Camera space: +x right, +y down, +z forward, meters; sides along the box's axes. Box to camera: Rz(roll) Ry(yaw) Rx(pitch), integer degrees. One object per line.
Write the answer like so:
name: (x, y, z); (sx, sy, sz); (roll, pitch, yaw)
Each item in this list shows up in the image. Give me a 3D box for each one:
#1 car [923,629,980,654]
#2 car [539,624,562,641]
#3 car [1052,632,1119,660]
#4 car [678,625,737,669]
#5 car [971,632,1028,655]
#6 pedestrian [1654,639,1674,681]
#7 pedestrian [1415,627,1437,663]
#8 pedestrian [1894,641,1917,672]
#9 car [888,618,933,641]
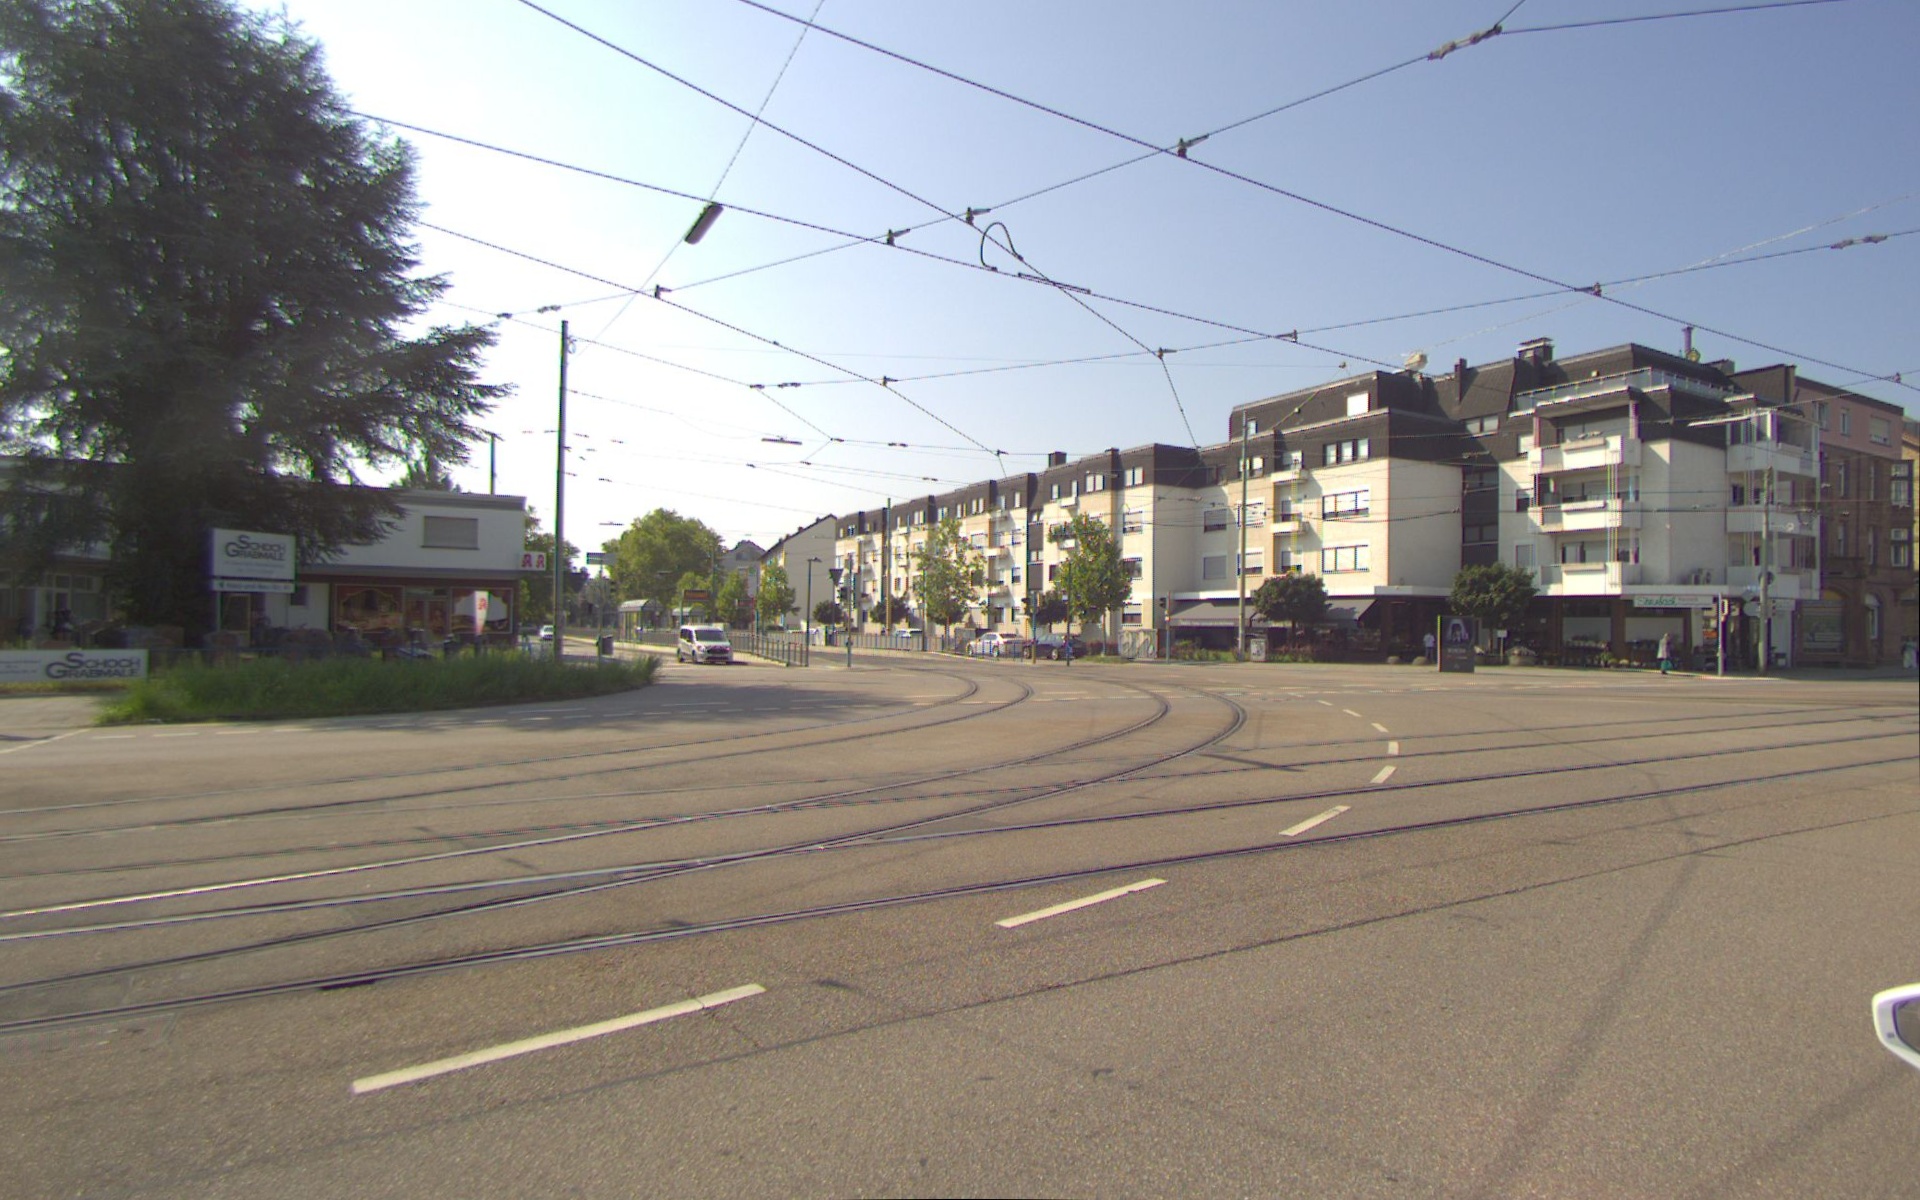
car: (-0.591, 2.761, 66.101); (1.848, 1.554, 4.350); (2, -4, -30)
car: (-38.259, 3.064, 93.907); (1.704, 1.527, 3.975); (2, -4, -26)
car: (7.519, 2.755, 60.370); (1.907, 1.527, 4.089); (2, -1, -30)
car: (-11.861, 2.174, 47.061); (1.800, 1.911, 3.998); (1, -1, -27)
car: (2.325, 2.613, 60.402); (1.652, 1.316, 4.095); (2, -4, -27)
pedestrian: (29.788, 2.530, 42.517); (0.589, 1.768, 0.565); (-1, -3, 27)
pedestrian: (23.072, 2.231, 49.696); (0.689, 1.763, 0.677); (2, -3, -29)
pedestrian: (49.397, 2.965, 52.491); (0.873, 1.580, 0.482); (3, -1, -19)
car: (-3.557, 2.104, 71.674); (1.653, 1.500, 3.888); (2, -4, -30)
